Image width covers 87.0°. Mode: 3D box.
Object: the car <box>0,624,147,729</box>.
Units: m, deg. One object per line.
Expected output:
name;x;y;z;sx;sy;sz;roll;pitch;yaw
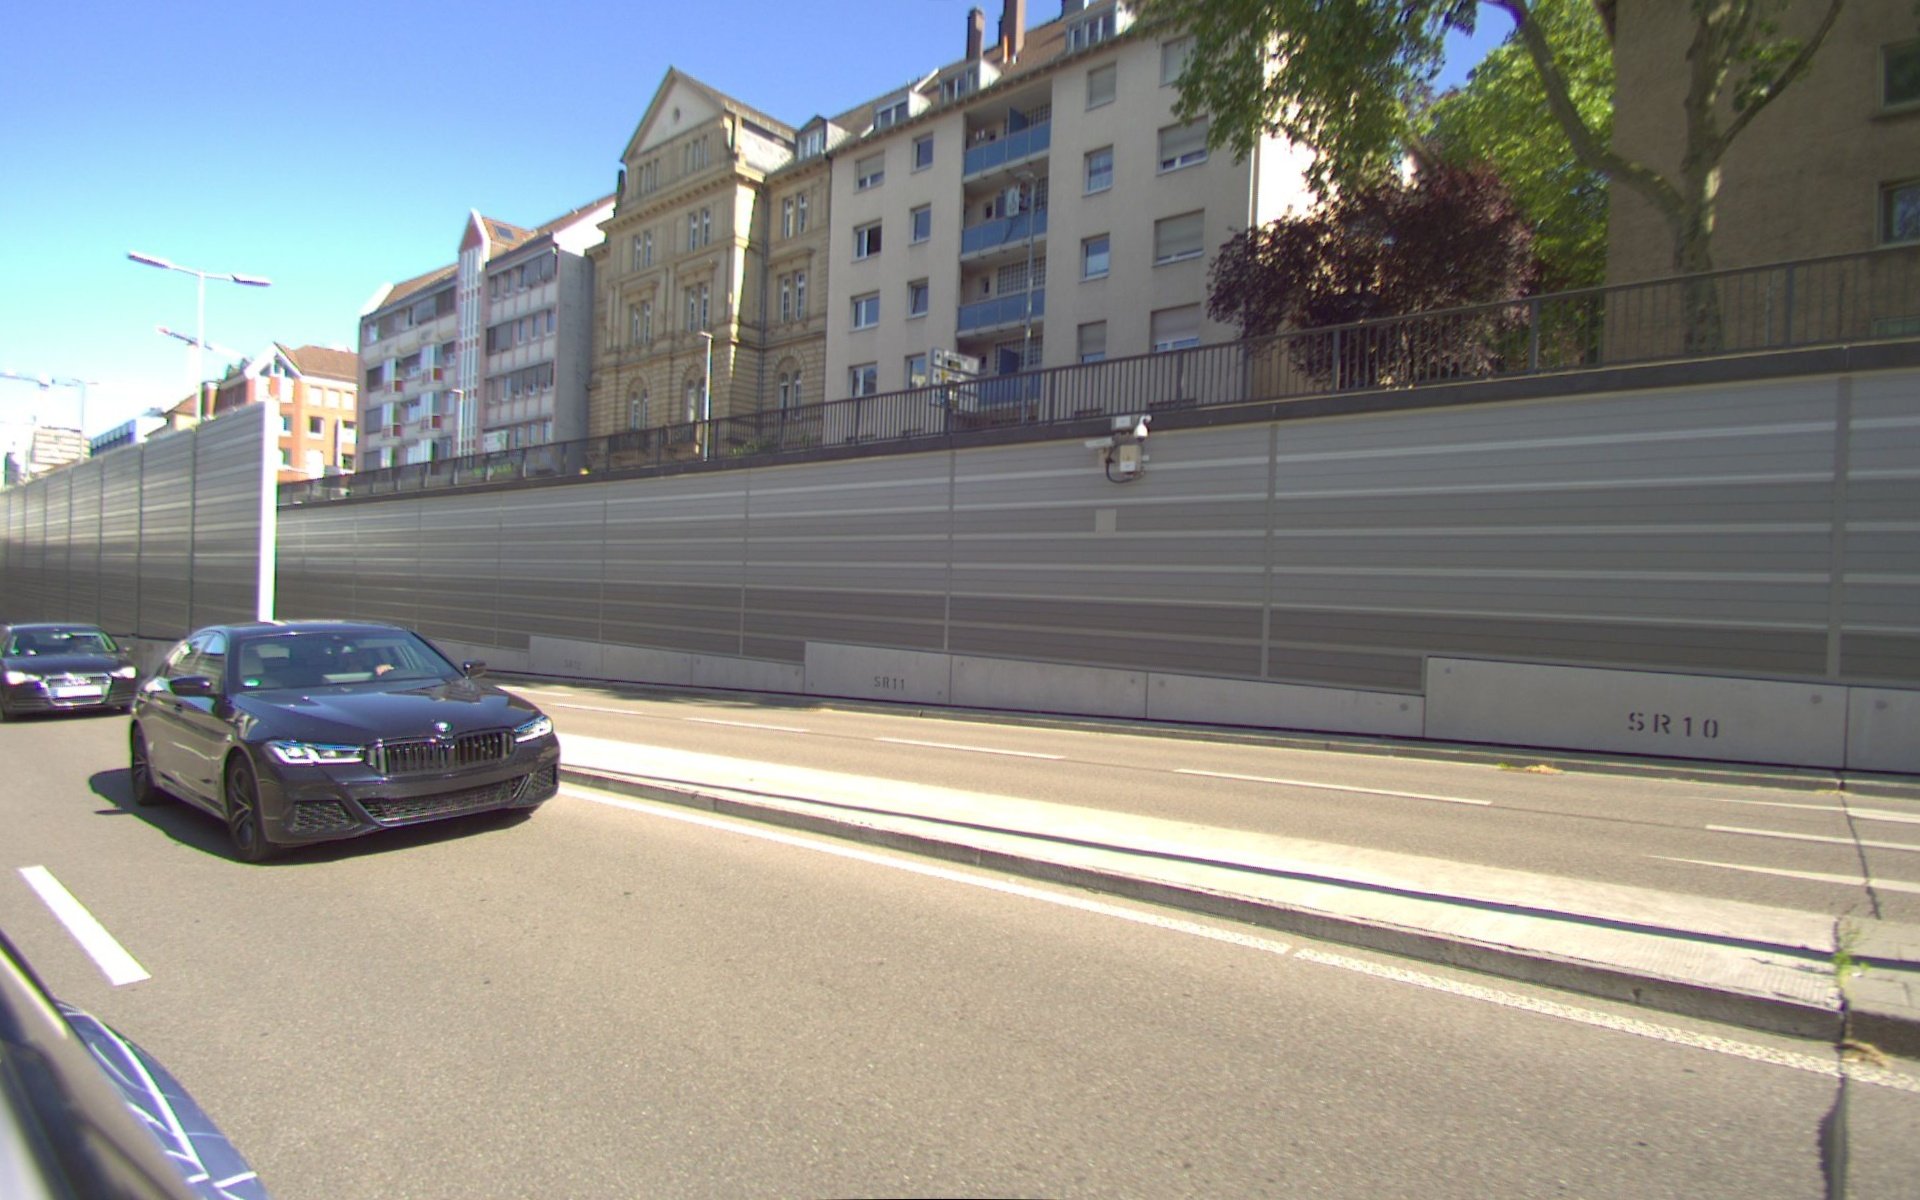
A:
car;-14.311;1.120;15.928;3.886;1.429;1.678;-2;-1;41

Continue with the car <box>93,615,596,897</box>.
car;-4.885;0.882;7.641;4.999;1.450;1.790;-2;-1;41
